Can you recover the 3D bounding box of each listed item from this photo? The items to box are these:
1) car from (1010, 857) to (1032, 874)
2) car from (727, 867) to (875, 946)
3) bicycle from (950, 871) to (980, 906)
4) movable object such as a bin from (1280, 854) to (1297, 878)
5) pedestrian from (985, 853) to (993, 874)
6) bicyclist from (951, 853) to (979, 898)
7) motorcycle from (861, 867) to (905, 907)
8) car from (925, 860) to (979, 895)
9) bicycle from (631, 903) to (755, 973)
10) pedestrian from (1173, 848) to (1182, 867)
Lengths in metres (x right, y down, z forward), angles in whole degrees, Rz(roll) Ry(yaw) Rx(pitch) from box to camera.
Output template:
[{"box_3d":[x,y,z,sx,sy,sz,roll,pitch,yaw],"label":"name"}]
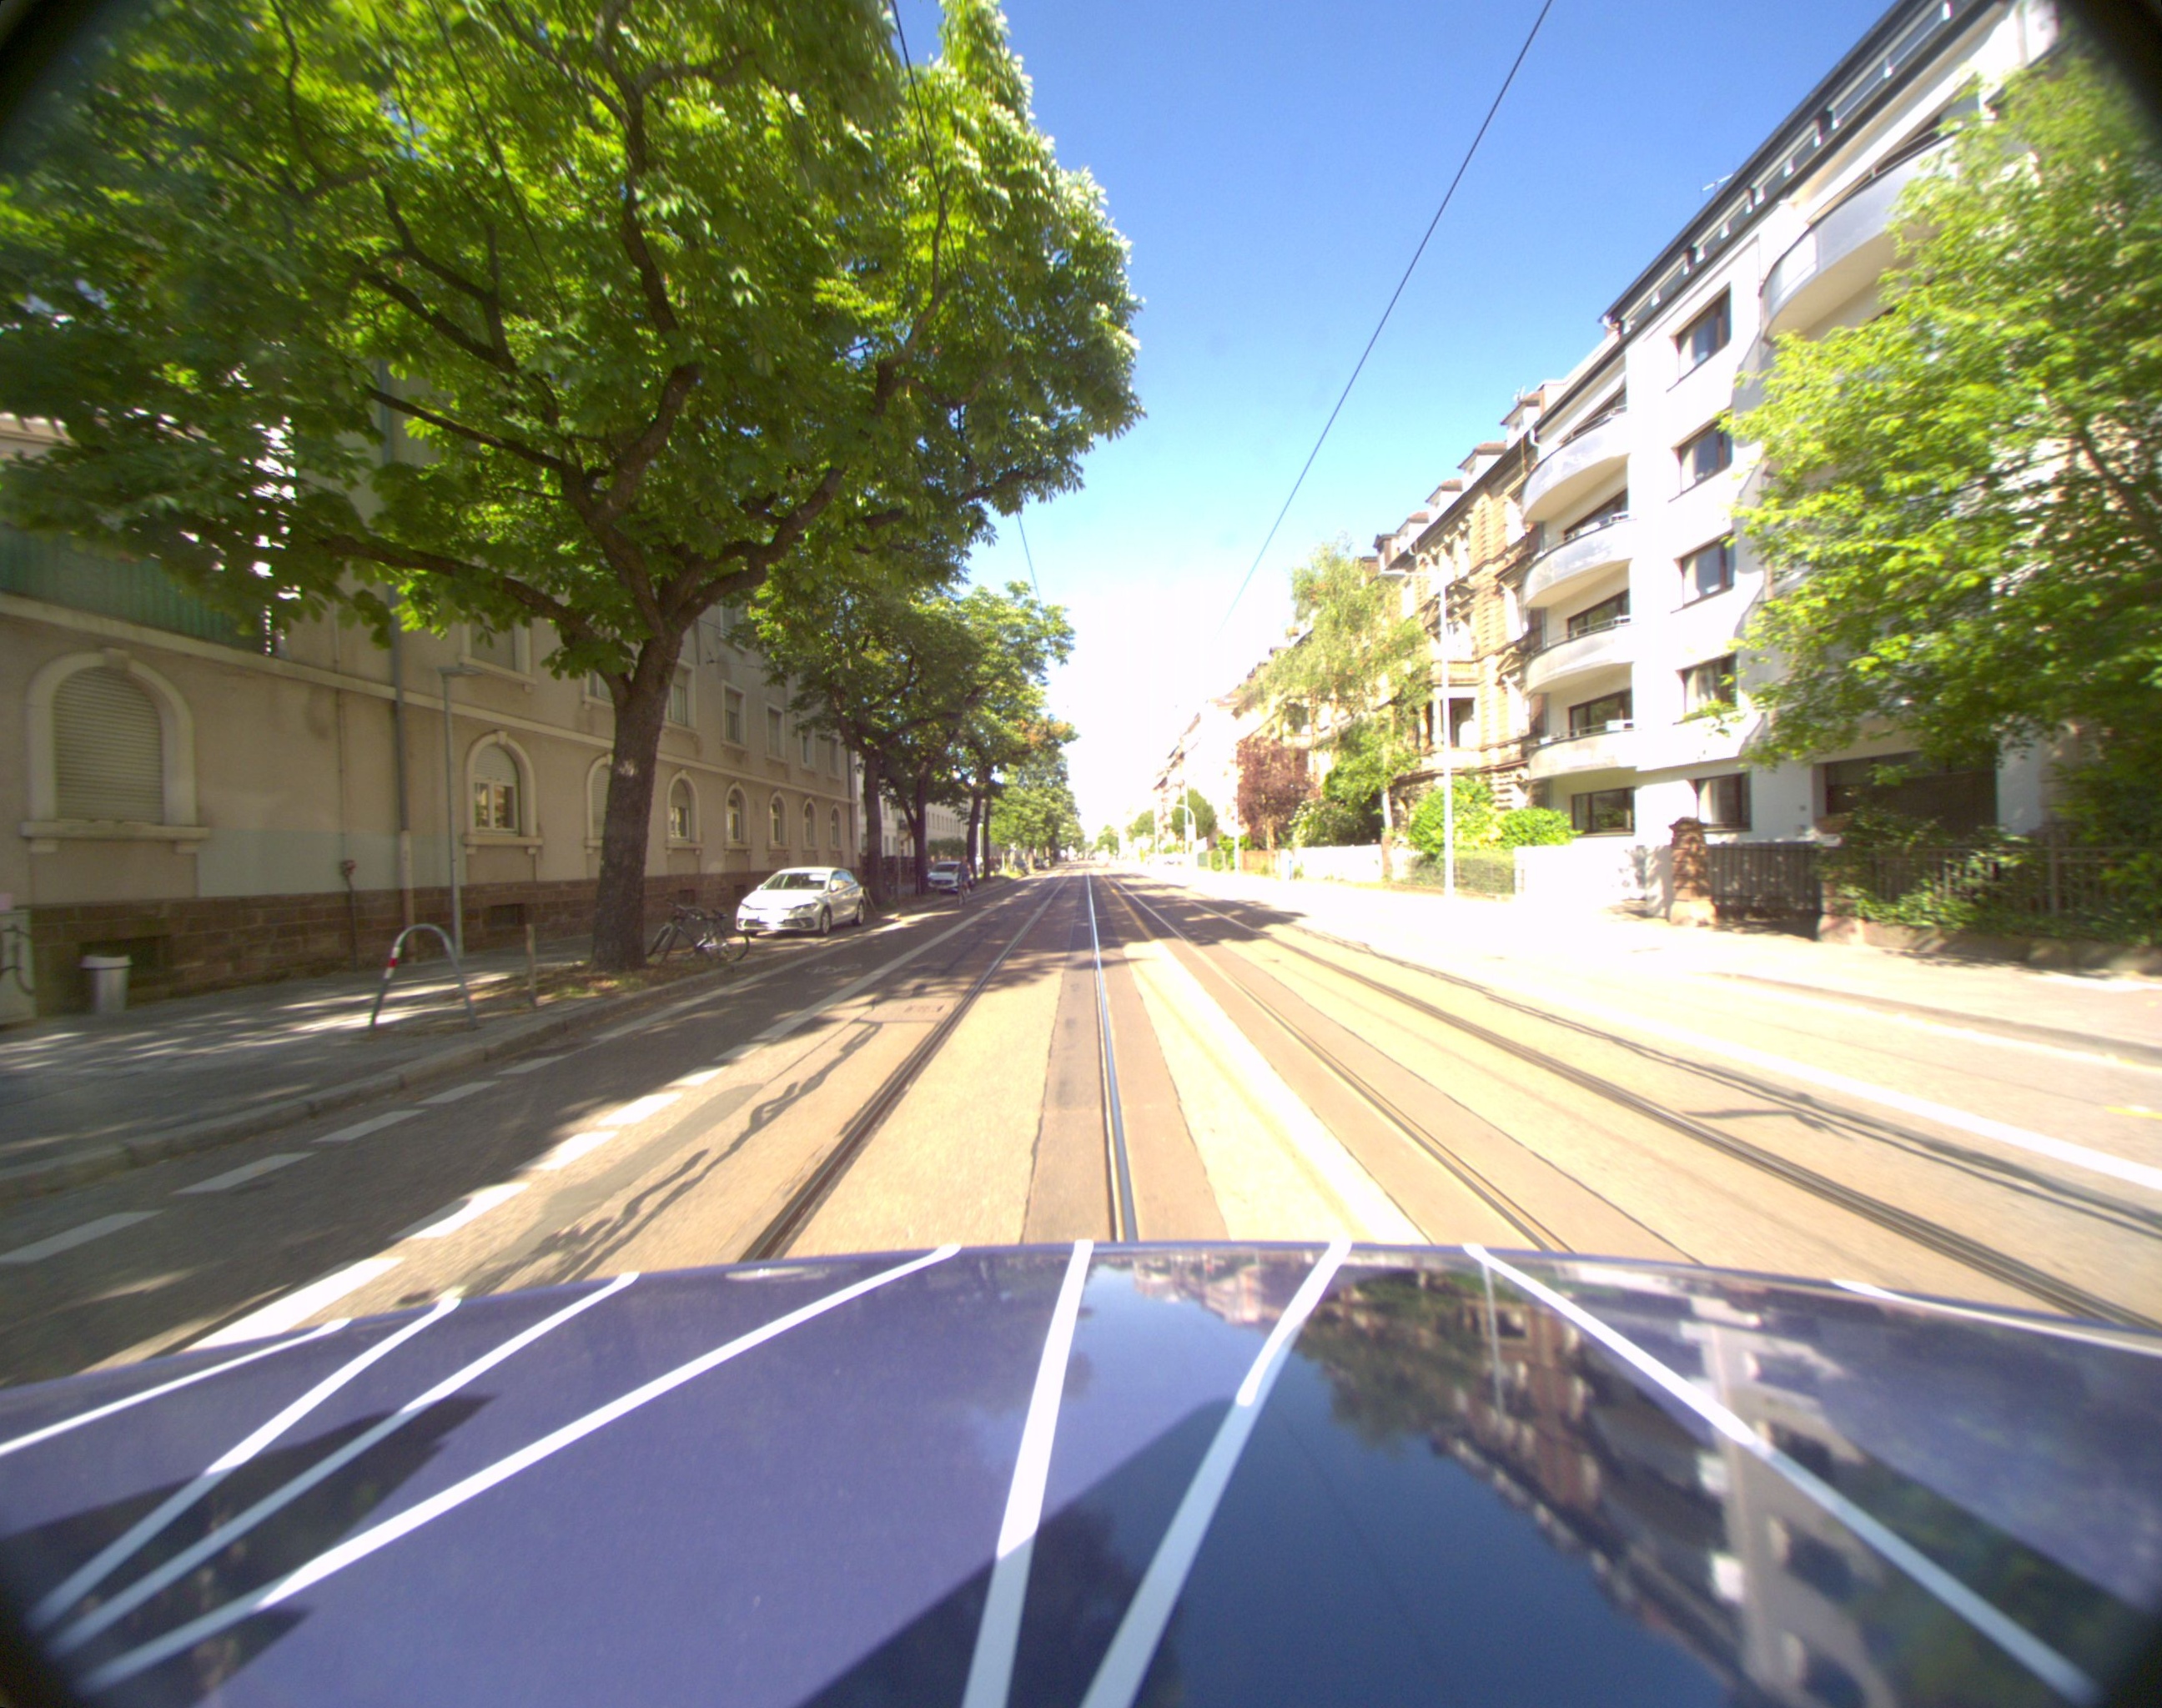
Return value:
[{"box_3d":[-5.507,1.004,69.995,1.761,1.458,4.613,0,0,-2],"label":"car"},{"box_3d":[-6.106,1.074,17.131,1.705,1.463,4.214,-1,0,1],"label":"car"},{"box_3d":[-4.026,1.181,26.513,0.776,1.080,2.058,-2,0,-2],"label":"bicycle"},{"box_3d":[10.243,0.593,37.557,0.590,1.169,0.665,-2,1,-4],"label":"movable object such as a bin"},{"box_3d":[-8.842,0.908,72.831,0.743,2.002,0.687,-2,1,-7],"label":"pedestrian"},{"box_3d":[-4.037,0.733,26.485,0.776,1.505,1.229,-2,0,-2],"label":"bicyclist"},{"box_3d":[-6.706,1.097,25.876,0.763,1.243,2.263,-1,0,3],"label":"motorcycle"},{"box_3d":[-5.952,1.043,35.493,1.824,1.475,4.748,0,0,-2],"label":"car"},{"box_3d":[-6.000,1.286,11.819,1.570,0.974,0.640,-1,0,-8],"label":"bicycle"},{"box_3d":[9.564,0.361,75.617,0.809,1.825,0.754,-1,1,9],"label":"pedestrian"}]
